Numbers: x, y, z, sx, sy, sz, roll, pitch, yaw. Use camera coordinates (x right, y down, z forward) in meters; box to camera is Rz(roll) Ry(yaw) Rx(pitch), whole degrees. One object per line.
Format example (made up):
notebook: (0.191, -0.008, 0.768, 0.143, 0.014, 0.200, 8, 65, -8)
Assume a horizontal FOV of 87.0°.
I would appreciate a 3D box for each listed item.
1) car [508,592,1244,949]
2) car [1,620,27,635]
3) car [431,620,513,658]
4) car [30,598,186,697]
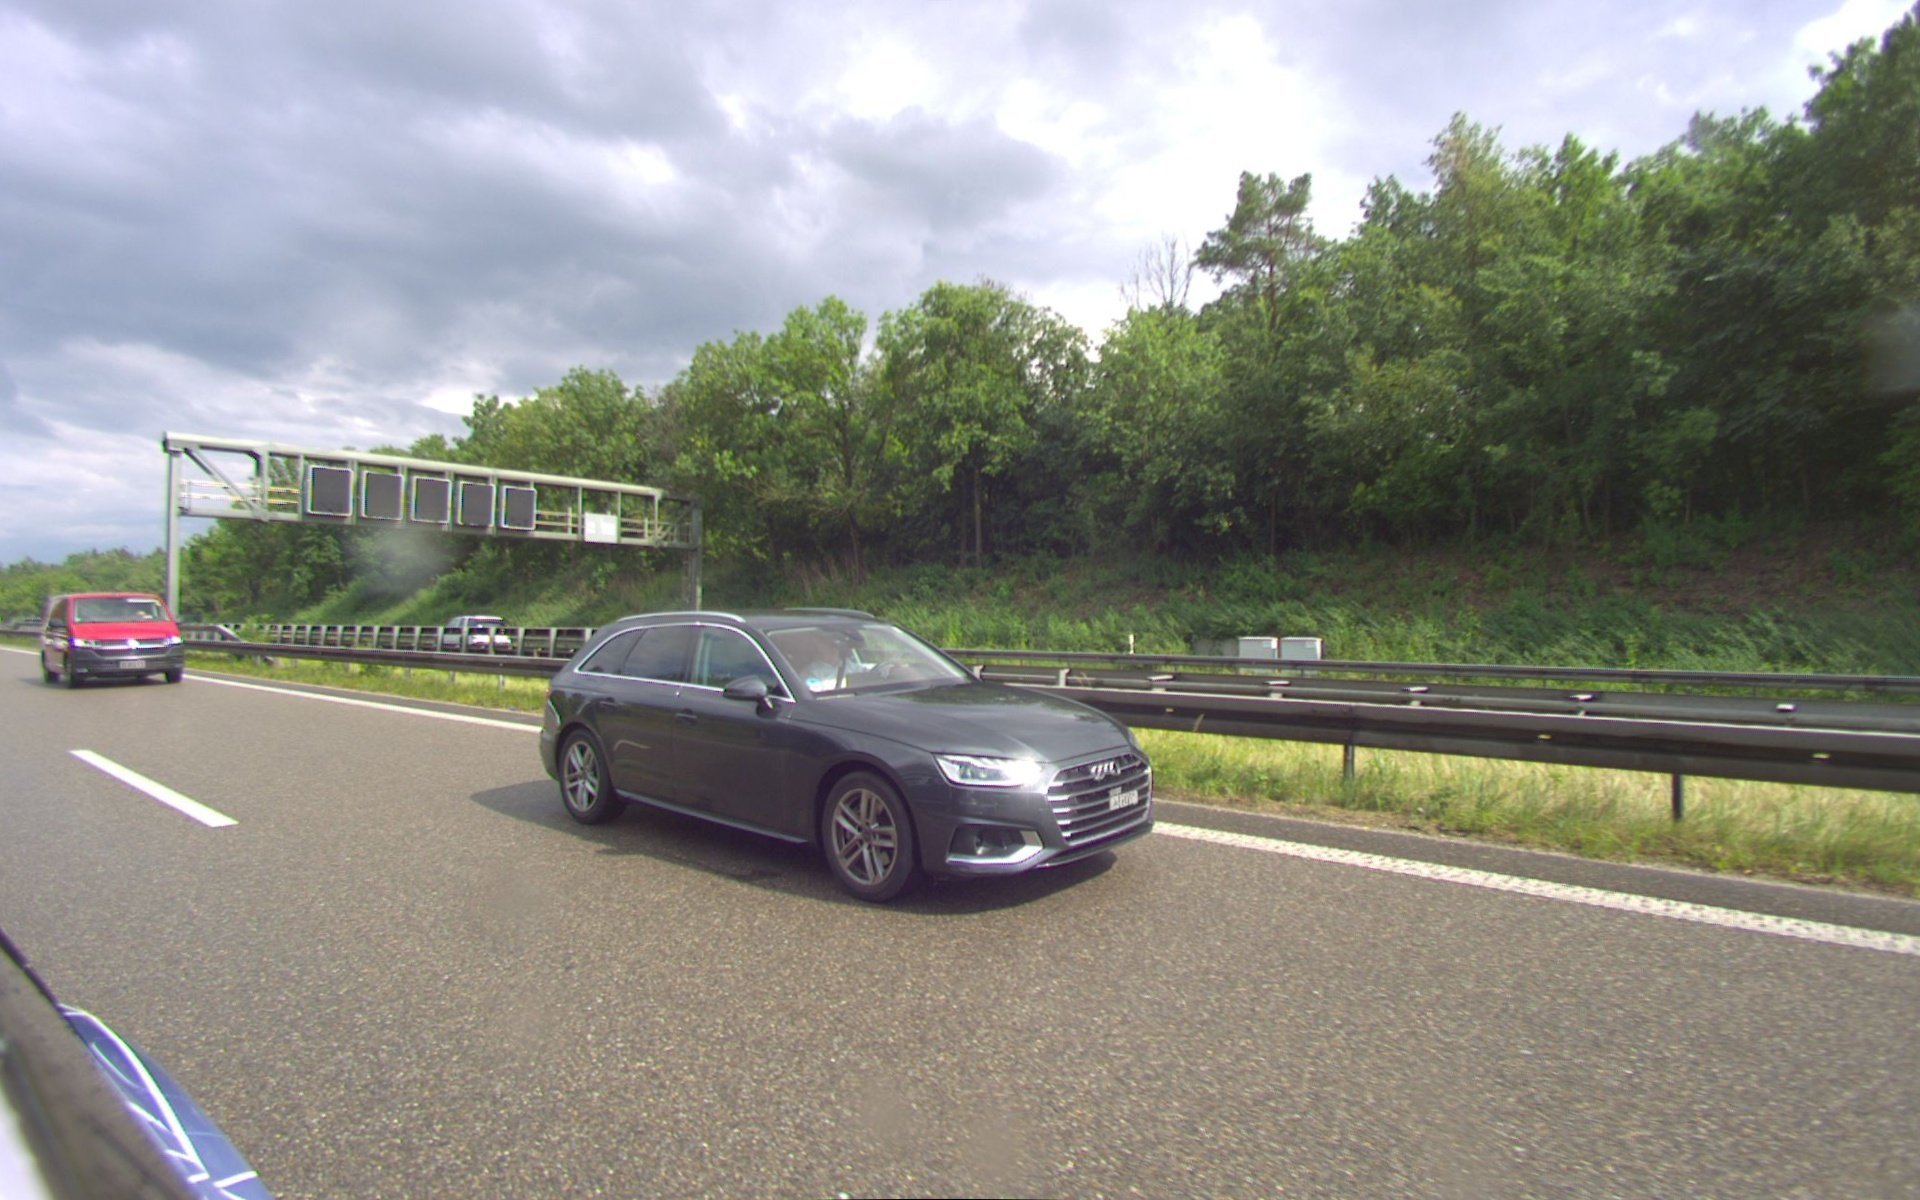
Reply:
car: (-0.873, 0.709, 6.366, 4.837, 1.429, 1.775, -1, 0, 42)
car: (-112.999, 3.278, 120.823, 4.234, 1.675, 1.835, -1, 0, 41)
car: (-23.065, 1.798, 47.754, 4.628, 1.675, 1.810, -1, 0, 41)
car: (-18.369, 0.929, 21.736, 4.837, 1.880, 1.901, -1, 0, 42)
